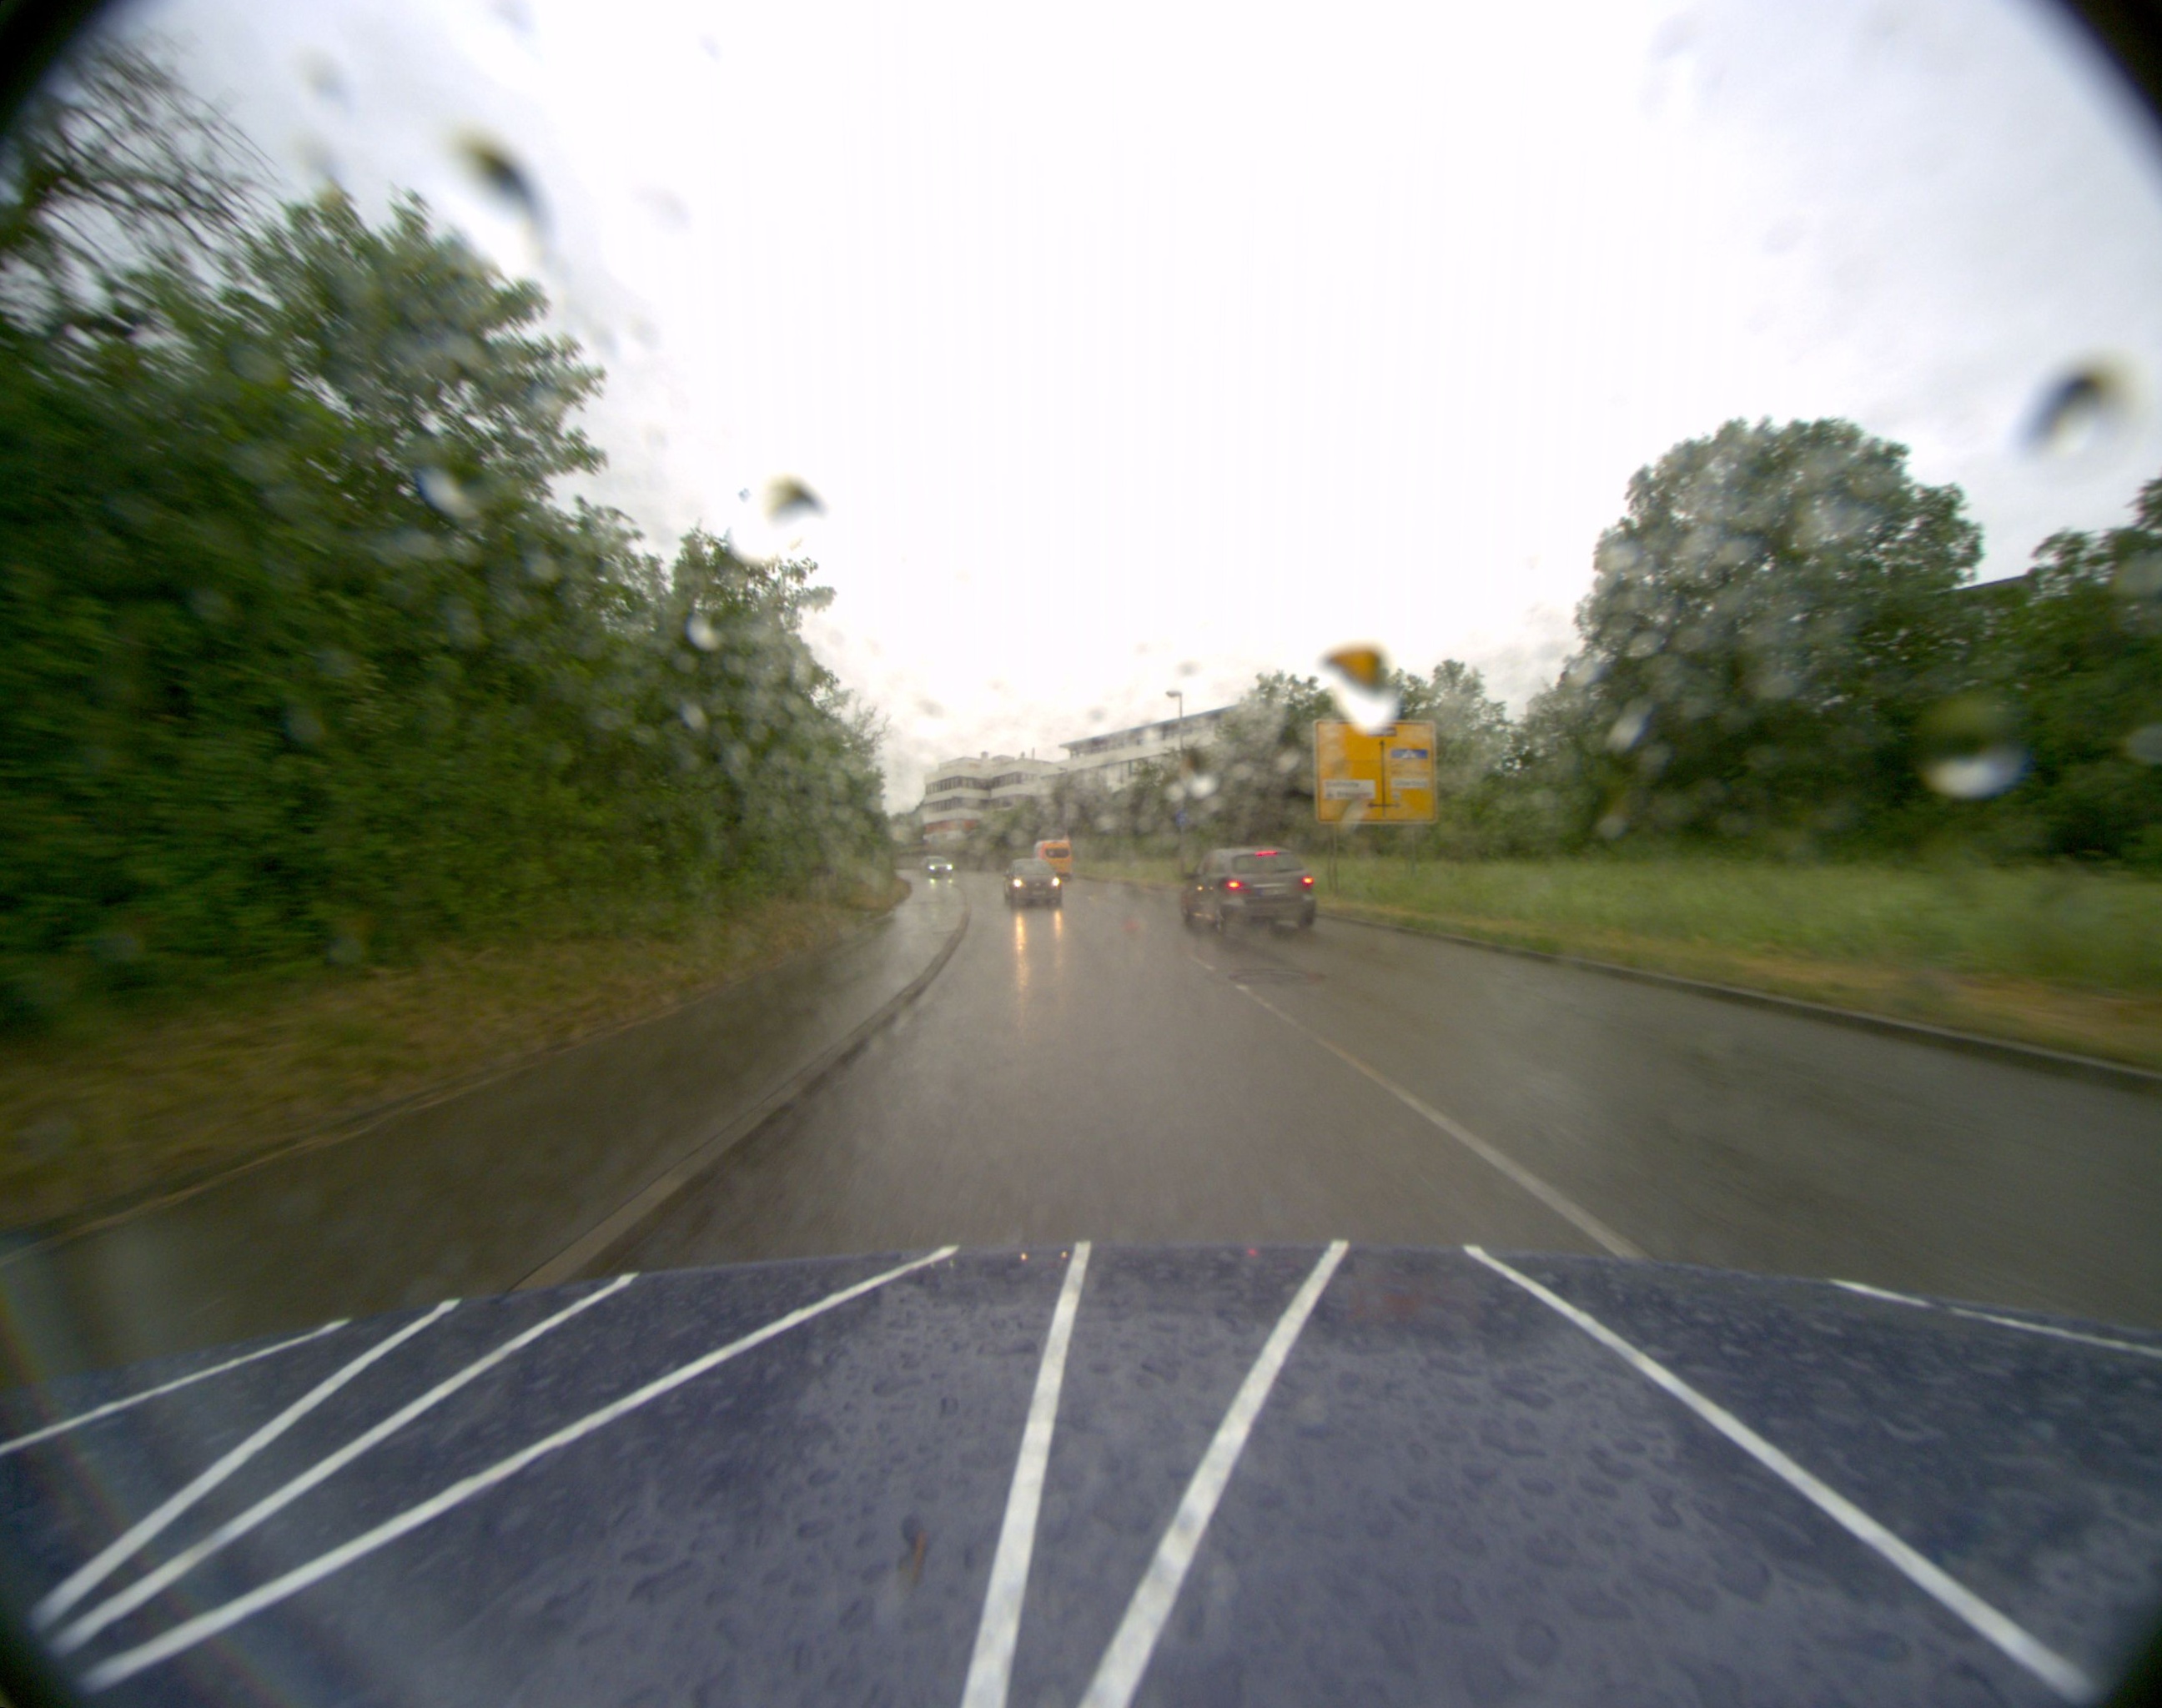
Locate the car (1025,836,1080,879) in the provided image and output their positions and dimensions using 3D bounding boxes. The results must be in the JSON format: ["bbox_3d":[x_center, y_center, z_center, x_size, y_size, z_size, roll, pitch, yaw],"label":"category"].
[{"bbox_3d":[-1.788,0.203,45.979,2.052,2.404,5.448,-3,1,-15],"label":"car"}]

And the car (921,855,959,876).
[{"bbox_3d":[-10.435,0.839,55.976,1.877,1.432,4.370,3,-2,-22],"label":"car"}]

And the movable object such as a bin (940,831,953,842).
[{"bbox_3d":[-16.993,-2.255,96.007,1.247,1.338,1.214,1,0,-32],"label":"movable object such as a bin"}]

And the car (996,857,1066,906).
[{"bbox_3d":[-1.814,0.886,26.181,1.875,1.433,4.373,-3,0,-10],"label":"car"}]

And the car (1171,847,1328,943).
[{"bbox_3d":[3.214,0.707,15.435,1.869,1.543,4.264,-4,1,-4],"label":"car"}]
